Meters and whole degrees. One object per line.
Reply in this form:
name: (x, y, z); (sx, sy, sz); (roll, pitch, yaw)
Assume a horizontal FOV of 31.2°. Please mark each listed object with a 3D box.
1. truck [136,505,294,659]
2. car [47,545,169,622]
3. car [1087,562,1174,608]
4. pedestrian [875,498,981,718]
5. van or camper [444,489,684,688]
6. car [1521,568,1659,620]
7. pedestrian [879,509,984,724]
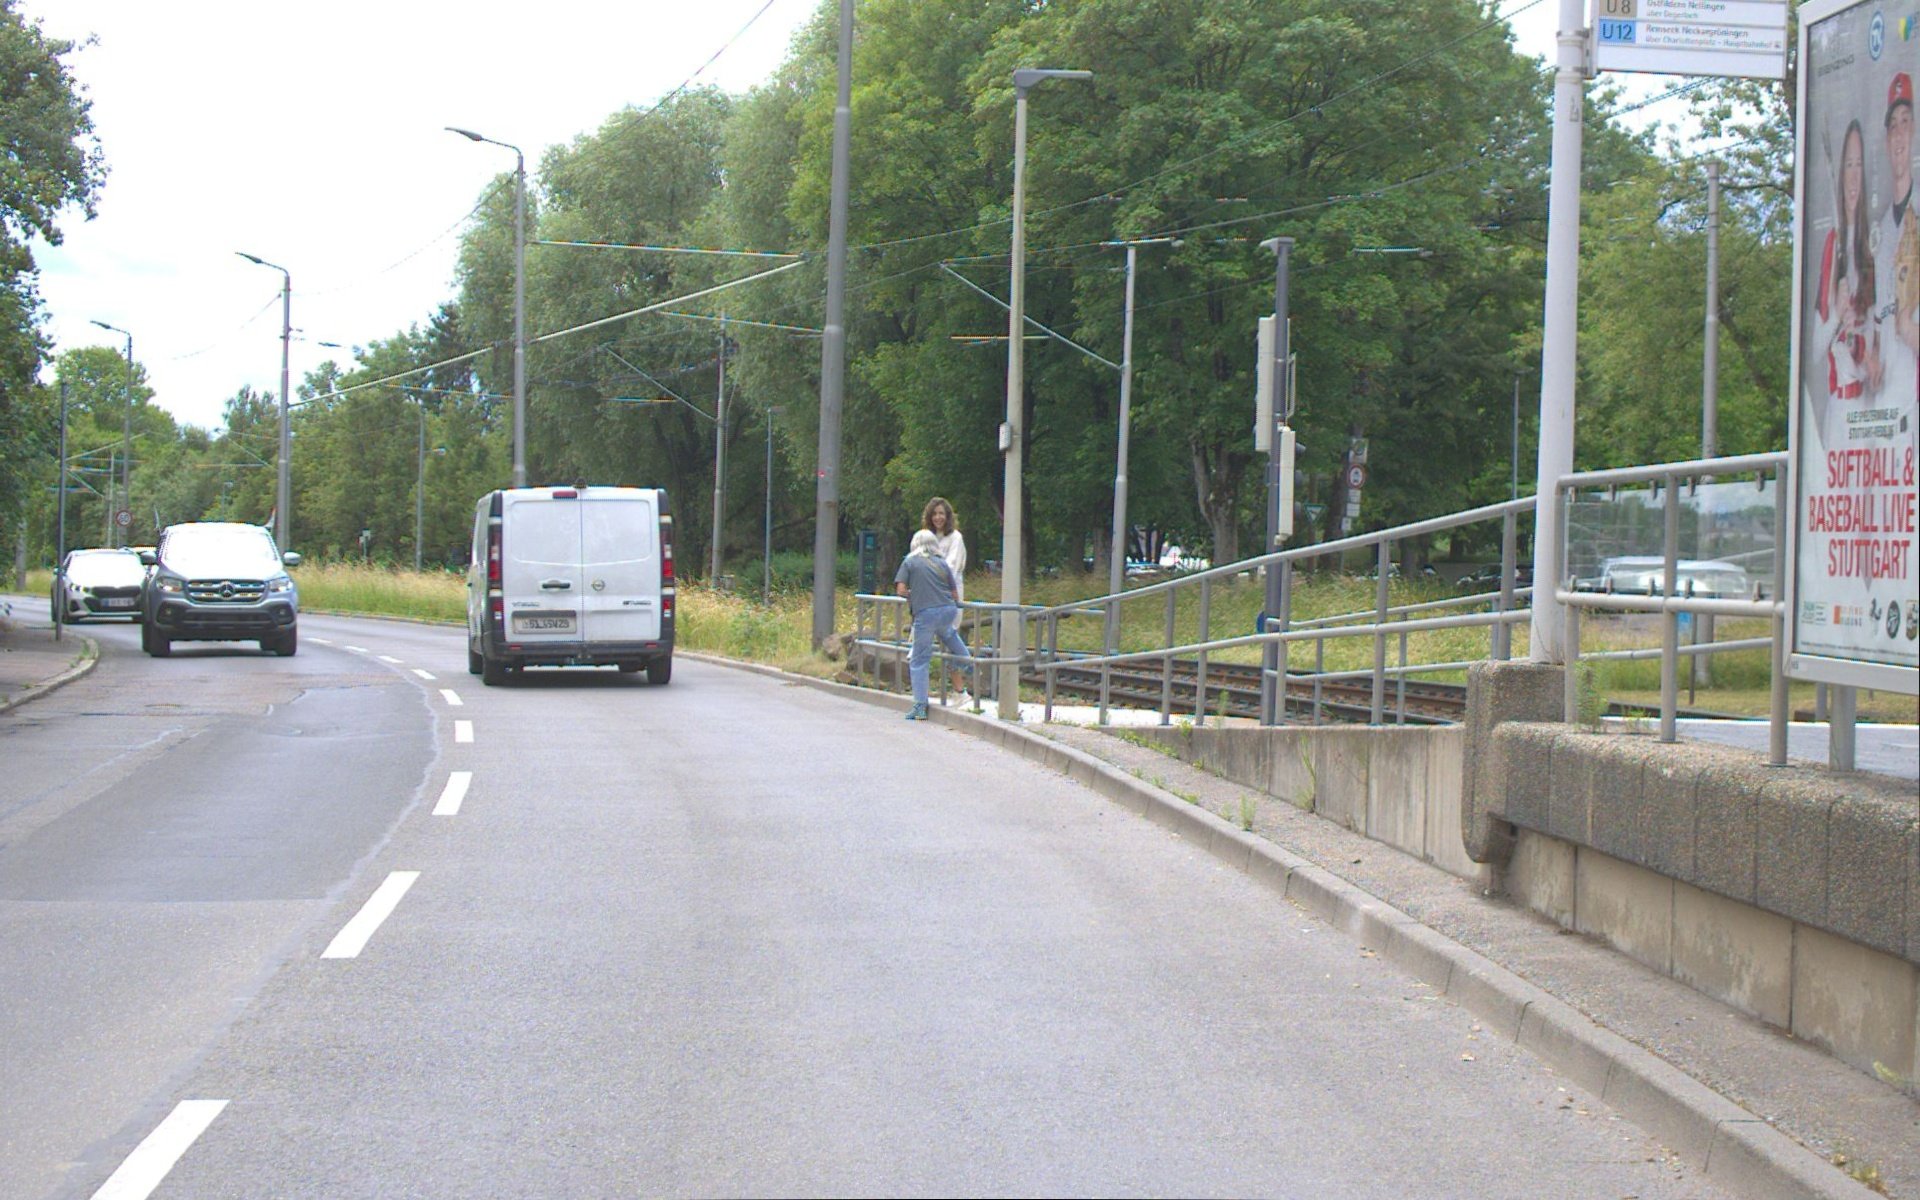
truck: (-10.119, -0.263, 46.959); (1.847, 1.959, 4.960); (1, 1, -10)
car: (-17.579, -0.351, 70.814); (1.929, 1.517, 4.660); (-1, 1, -20)
car: (6.526, -0.577, 132.031); (1.993, 1.694, 4.001); (2, 0, -19)
pedestrian: (-0.274, 0.076, 29.327); (0.658, 1.834, 0.597); (2, -2, -31)
van or camper: (-4.089, -0.129, 34.953); (1.941, 1.890, 4.286); (0, 0, -13)
car: (18.415, -0.192, 100.640); (1.993, 1.438, 4.347); (1, 0, -21)
pedestrian: (-0.234, 0.141, 28.070); (0.474, 1.723, 0.800); (3, -2, -32)
